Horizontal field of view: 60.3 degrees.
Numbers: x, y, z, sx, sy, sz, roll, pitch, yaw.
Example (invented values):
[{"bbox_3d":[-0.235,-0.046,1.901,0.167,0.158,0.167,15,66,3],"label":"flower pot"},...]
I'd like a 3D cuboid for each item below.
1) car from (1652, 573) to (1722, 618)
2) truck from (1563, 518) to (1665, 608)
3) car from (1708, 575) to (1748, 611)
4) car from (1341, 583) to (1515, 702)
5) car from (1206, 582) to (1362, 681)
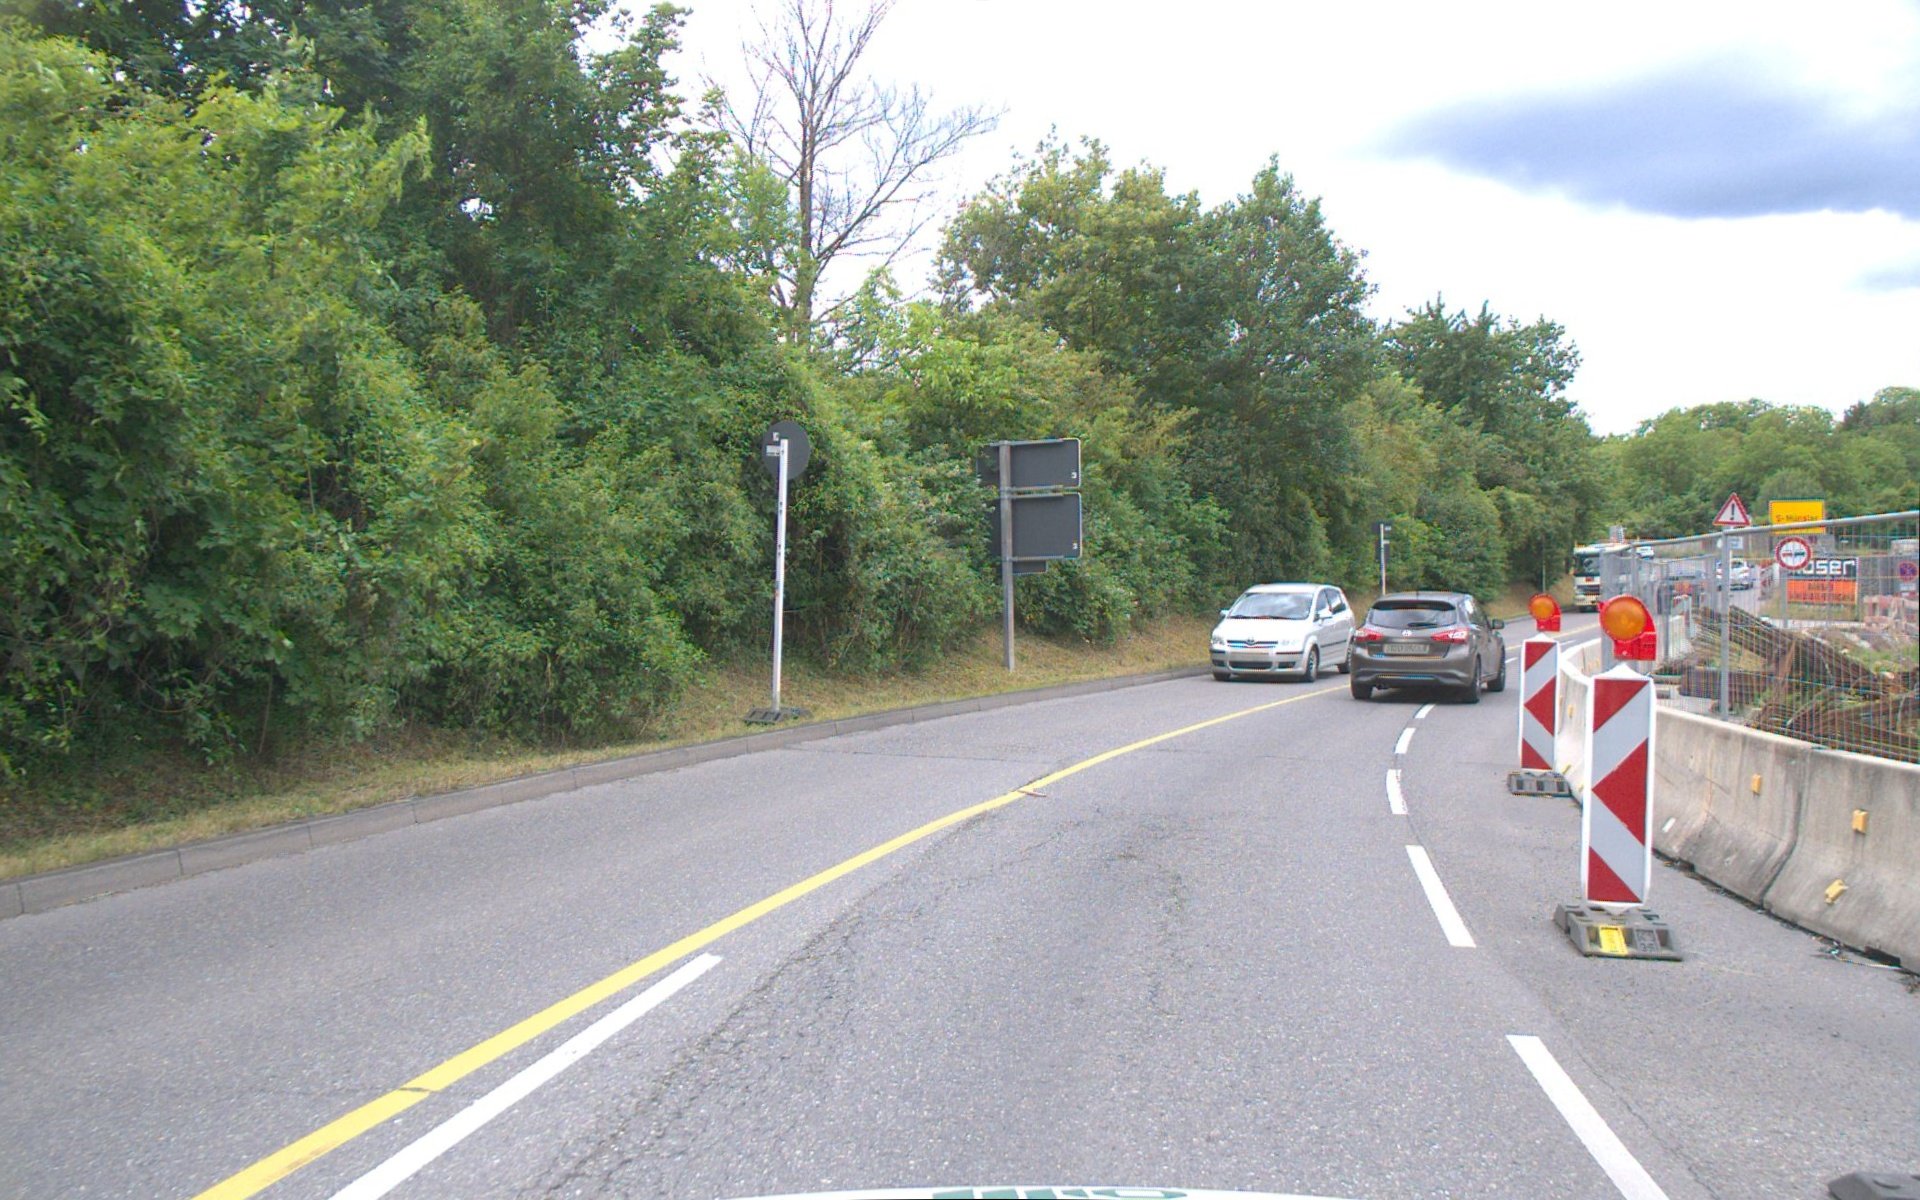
[{"bbox_3d":[26.611,-0.177,60.500,1.787,1.579,3.778,1,1,33],"label":"car"},{"bbox_3d":[26.984,-1.547,67.998,2.767,3.394,8.367,-2,1,29],"label":"truck"},{"bbox_3d":[37.704,-0.332,81.188,1.678,1.704,3.997,-2,-1,25],"label":"car"},{"bbox_3d":[6.994,0.569,24.442,1.763,1.579,3.996,1,0,26],"label":"car"},{"bbox_3d":[5.728,0.498,28.874,1.624,1.579,4.183,1,0,26],"label":"car"}]
